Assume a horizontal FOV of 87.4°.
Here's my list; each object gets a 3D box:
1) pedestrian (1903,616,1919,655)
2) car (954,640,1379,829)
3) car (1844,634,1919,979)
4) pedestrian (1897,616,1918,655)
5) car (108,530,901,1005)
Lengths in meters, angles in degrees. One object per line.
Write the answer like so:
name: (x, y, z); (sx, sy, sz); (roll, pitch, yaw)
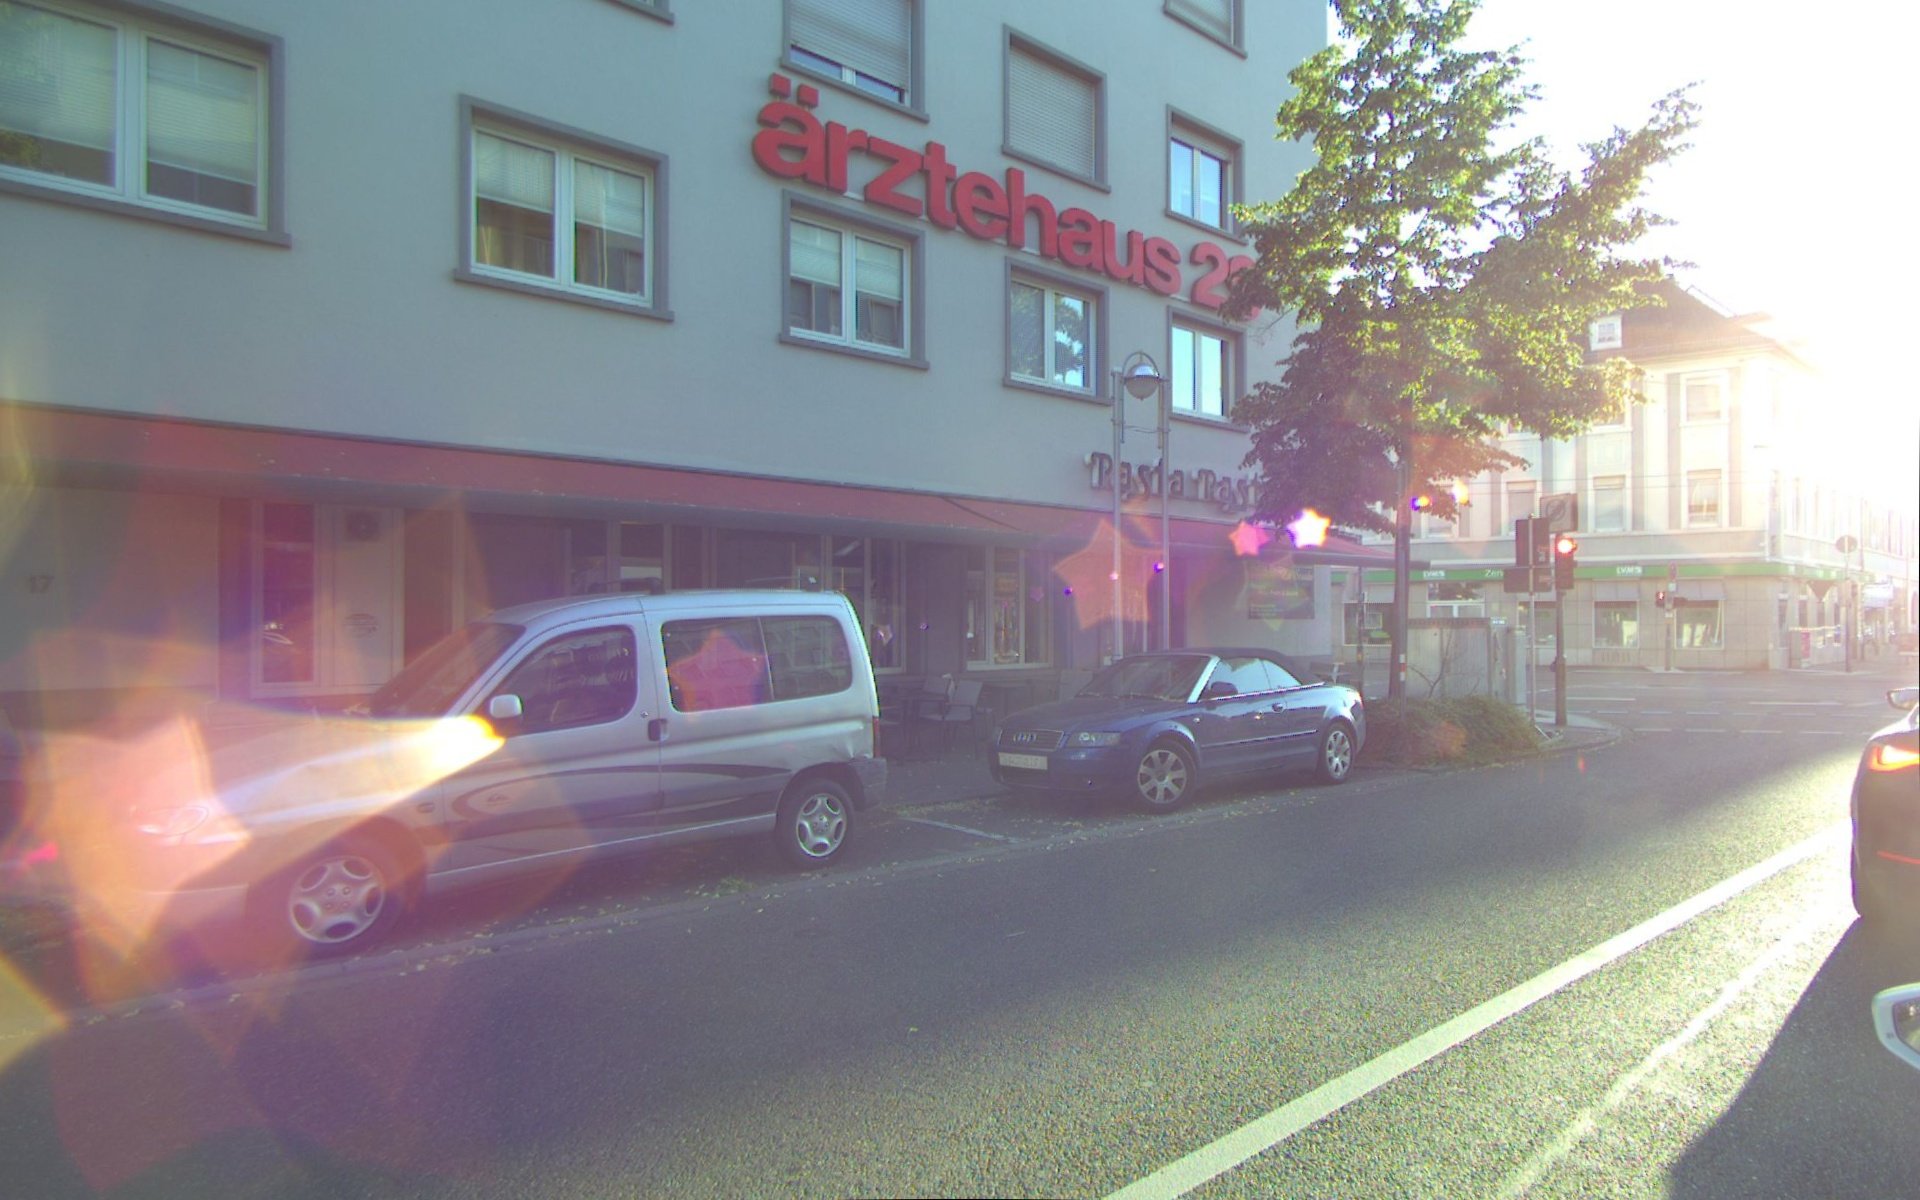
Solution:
pedestrian: (47.259, 1.751, 49.821); (0.673, 1.901, 0.610); (1, 0, -40)
car: (2.128, 1.126, 9.694); (4.244, 1.434, 1.710); (2, -4, -39)
car: (6.071, 0.920, 5.107); (4.188, 1.447, 1.723); (1, -1, -39)
pedestrian: (46.559, 1.735, 49.380); (0.626, 1.901, 0.638); (1, 0, -38)
car: (-2.449, 0.758, 6.025); (4.022, 1.912, 1.655); (2, -4, -41)
